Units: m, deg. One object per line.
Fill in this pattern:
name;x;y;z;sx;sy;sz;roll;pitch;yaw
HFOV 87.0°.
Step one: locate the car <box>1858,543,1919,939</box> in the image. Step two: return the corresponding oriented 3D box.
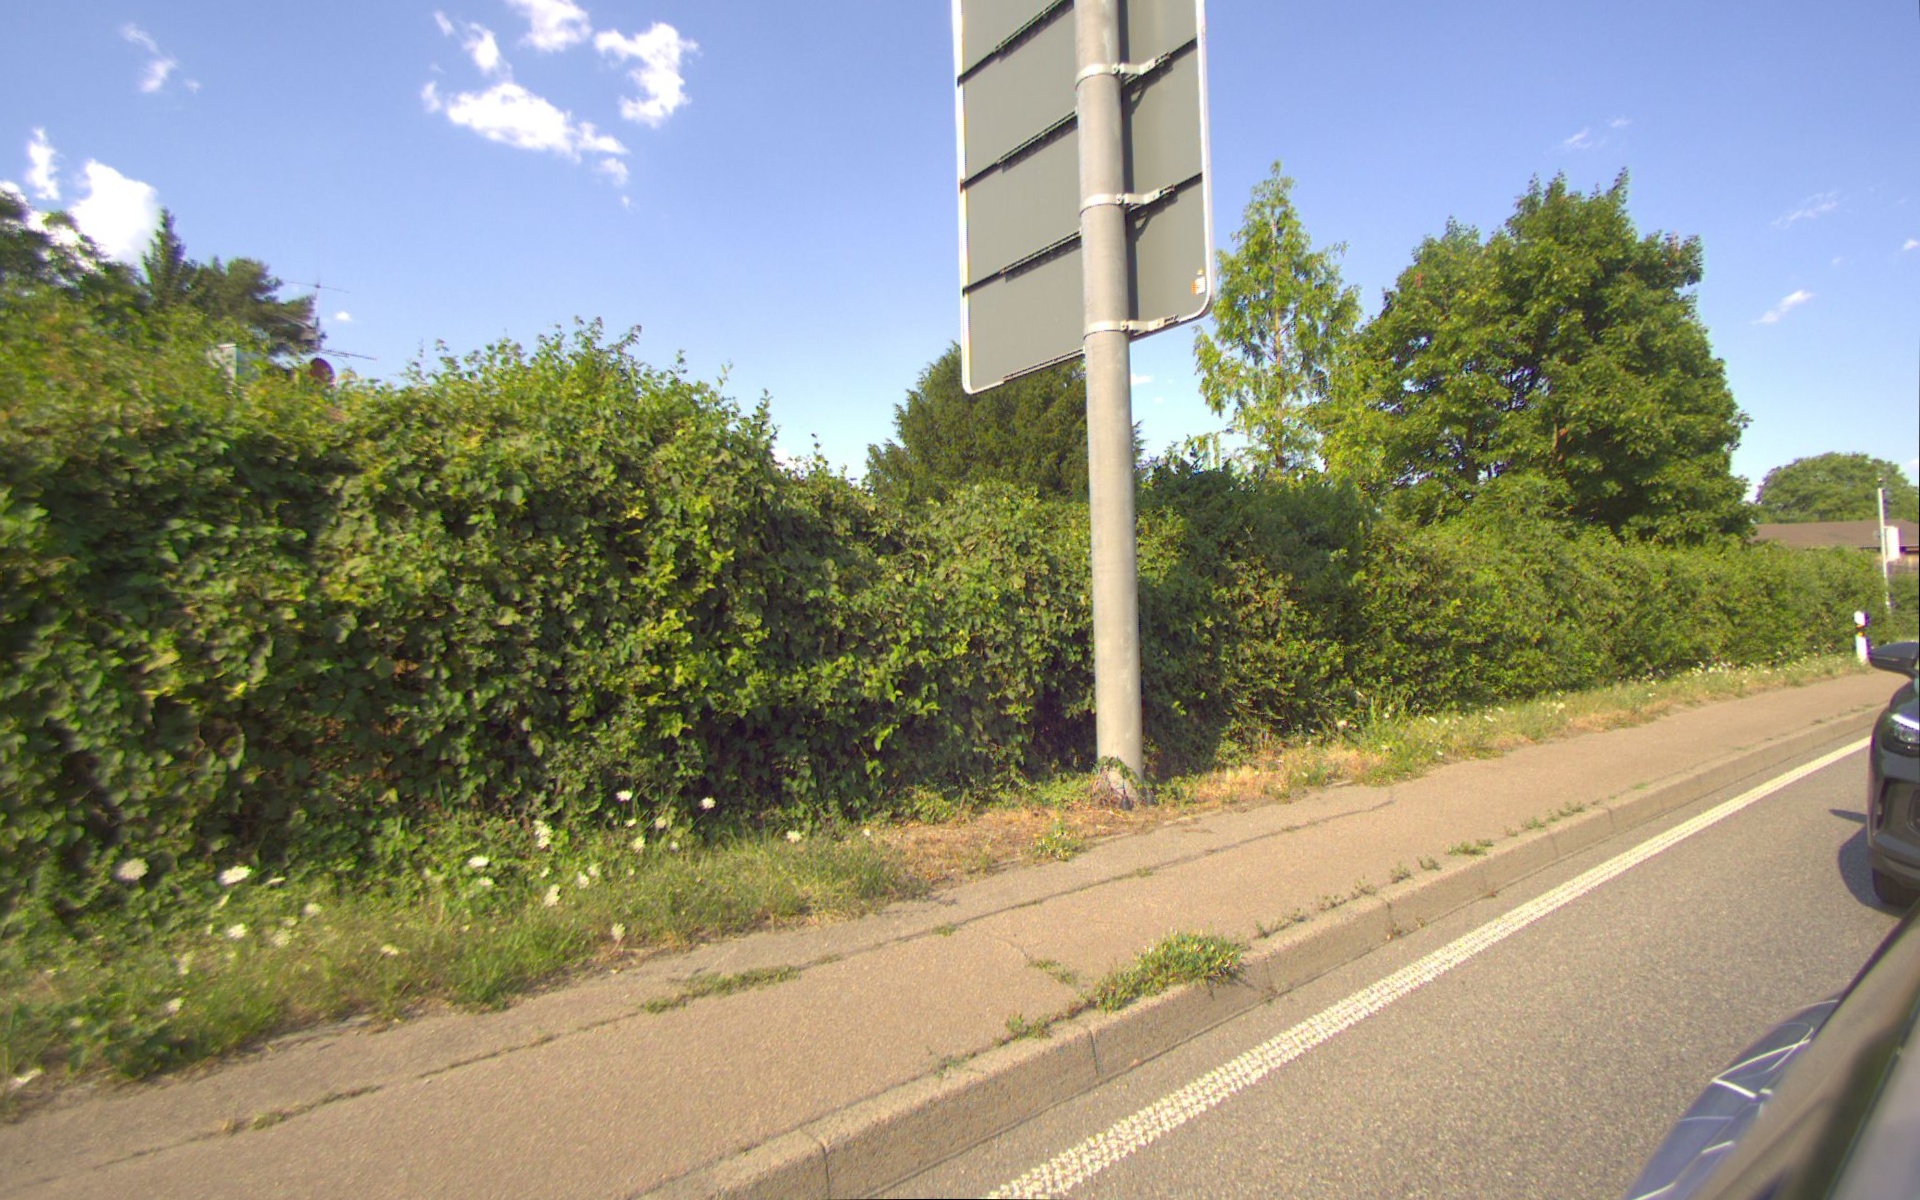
car;5.977;0.560;4.973;3.932;1.662;1.864;-2;2;-41
